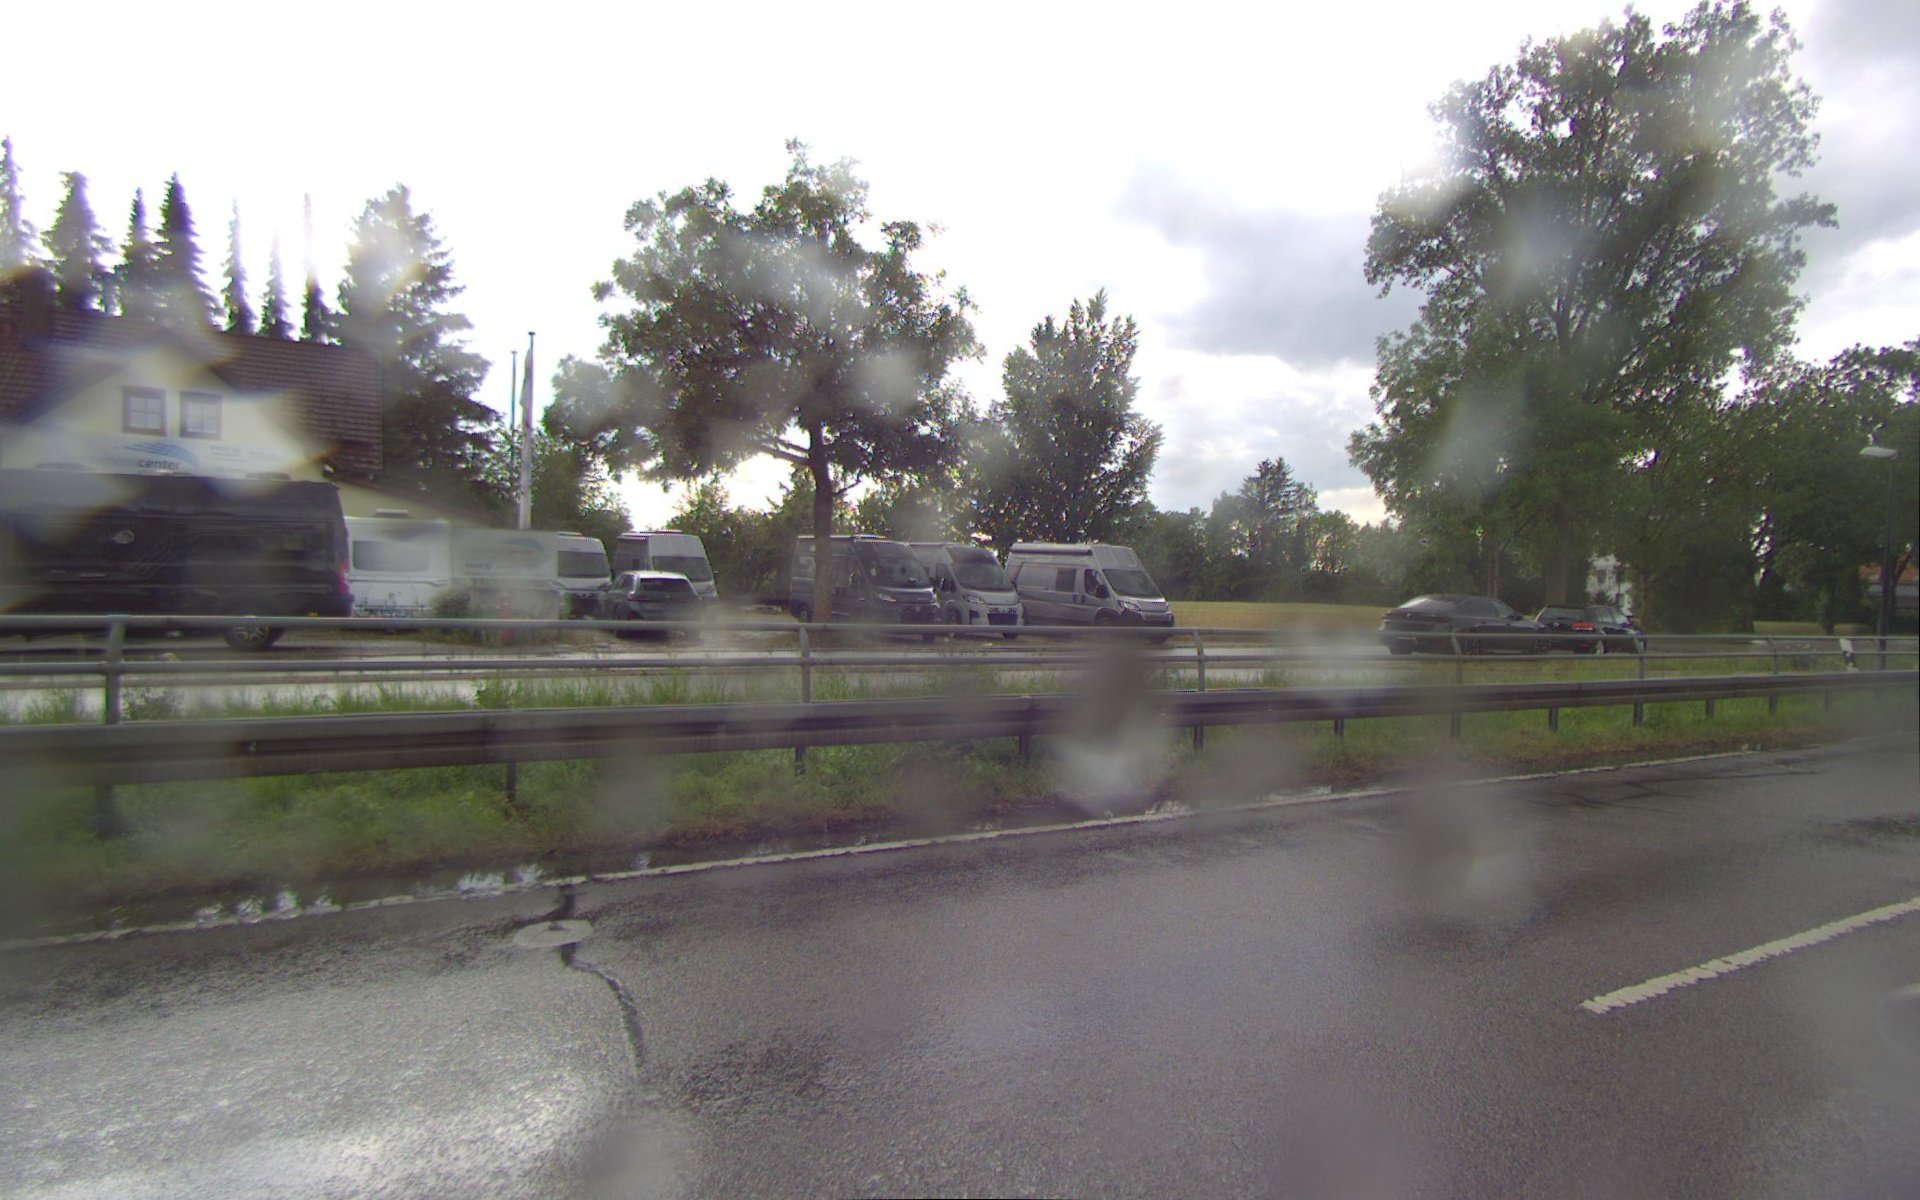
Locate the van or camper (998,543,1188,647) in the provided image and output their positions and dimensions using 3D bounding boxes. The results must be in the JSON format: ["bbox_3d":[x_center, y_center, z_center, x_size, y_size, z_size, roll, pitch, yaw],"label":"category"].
[{"bbox_3d":[3.657,-0.222,28.999,2.059,2.713,5.838,1,2,-33],"label":"van or camper"}]

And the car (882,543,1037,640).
[{"bbox_3d":[-0.138,-0.293,28.430,1.978,2.492,5.063,1,2,-32],"label":"car"}]

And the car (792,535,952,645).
[{"bbox_3d":[-2.404,-0.312,25.935,1.978,2.535,5.153,1,2,-32],"label":"car"}]

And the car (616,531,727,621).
[{"bbox_3d":[-9.394,-0.782,32.281,2.066,2.573,6.064,1,1,-29],"label":"car"}]

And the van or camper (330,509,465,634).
[{"bbox_3d":[-13.783,-0.694,24.553,2.532,2.626,6.191,1,2,-31],"label":"van or camper"}]

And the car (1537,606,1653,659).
[{"bbox_3d":[17.638,0.874,27.852,3.858,1.349,1.274,1,1,-34],"label":"car"}]

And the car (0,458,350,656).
[{"bbox_3d":[-12.969,-0.623,16.020,5.511,2.800,2.370,1,2,-32],"label":"car"}]

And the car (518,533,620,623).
[{"bbox_3d":[-12.022,-0.675,30.587,2.066,2.449,6.064,1,1,-29],"label":"car"}]

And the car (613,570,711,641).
[{"bbox_3d":[-7.158,0.089,23.923,1.521,1.516,3.868,1,2,-27],"label":"car"}]

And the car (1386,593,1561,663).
[{"bbox_3d":[12.504,0.664,24.305,5.069,1.511,1.505,1,2,-35],"label":"car"}]
